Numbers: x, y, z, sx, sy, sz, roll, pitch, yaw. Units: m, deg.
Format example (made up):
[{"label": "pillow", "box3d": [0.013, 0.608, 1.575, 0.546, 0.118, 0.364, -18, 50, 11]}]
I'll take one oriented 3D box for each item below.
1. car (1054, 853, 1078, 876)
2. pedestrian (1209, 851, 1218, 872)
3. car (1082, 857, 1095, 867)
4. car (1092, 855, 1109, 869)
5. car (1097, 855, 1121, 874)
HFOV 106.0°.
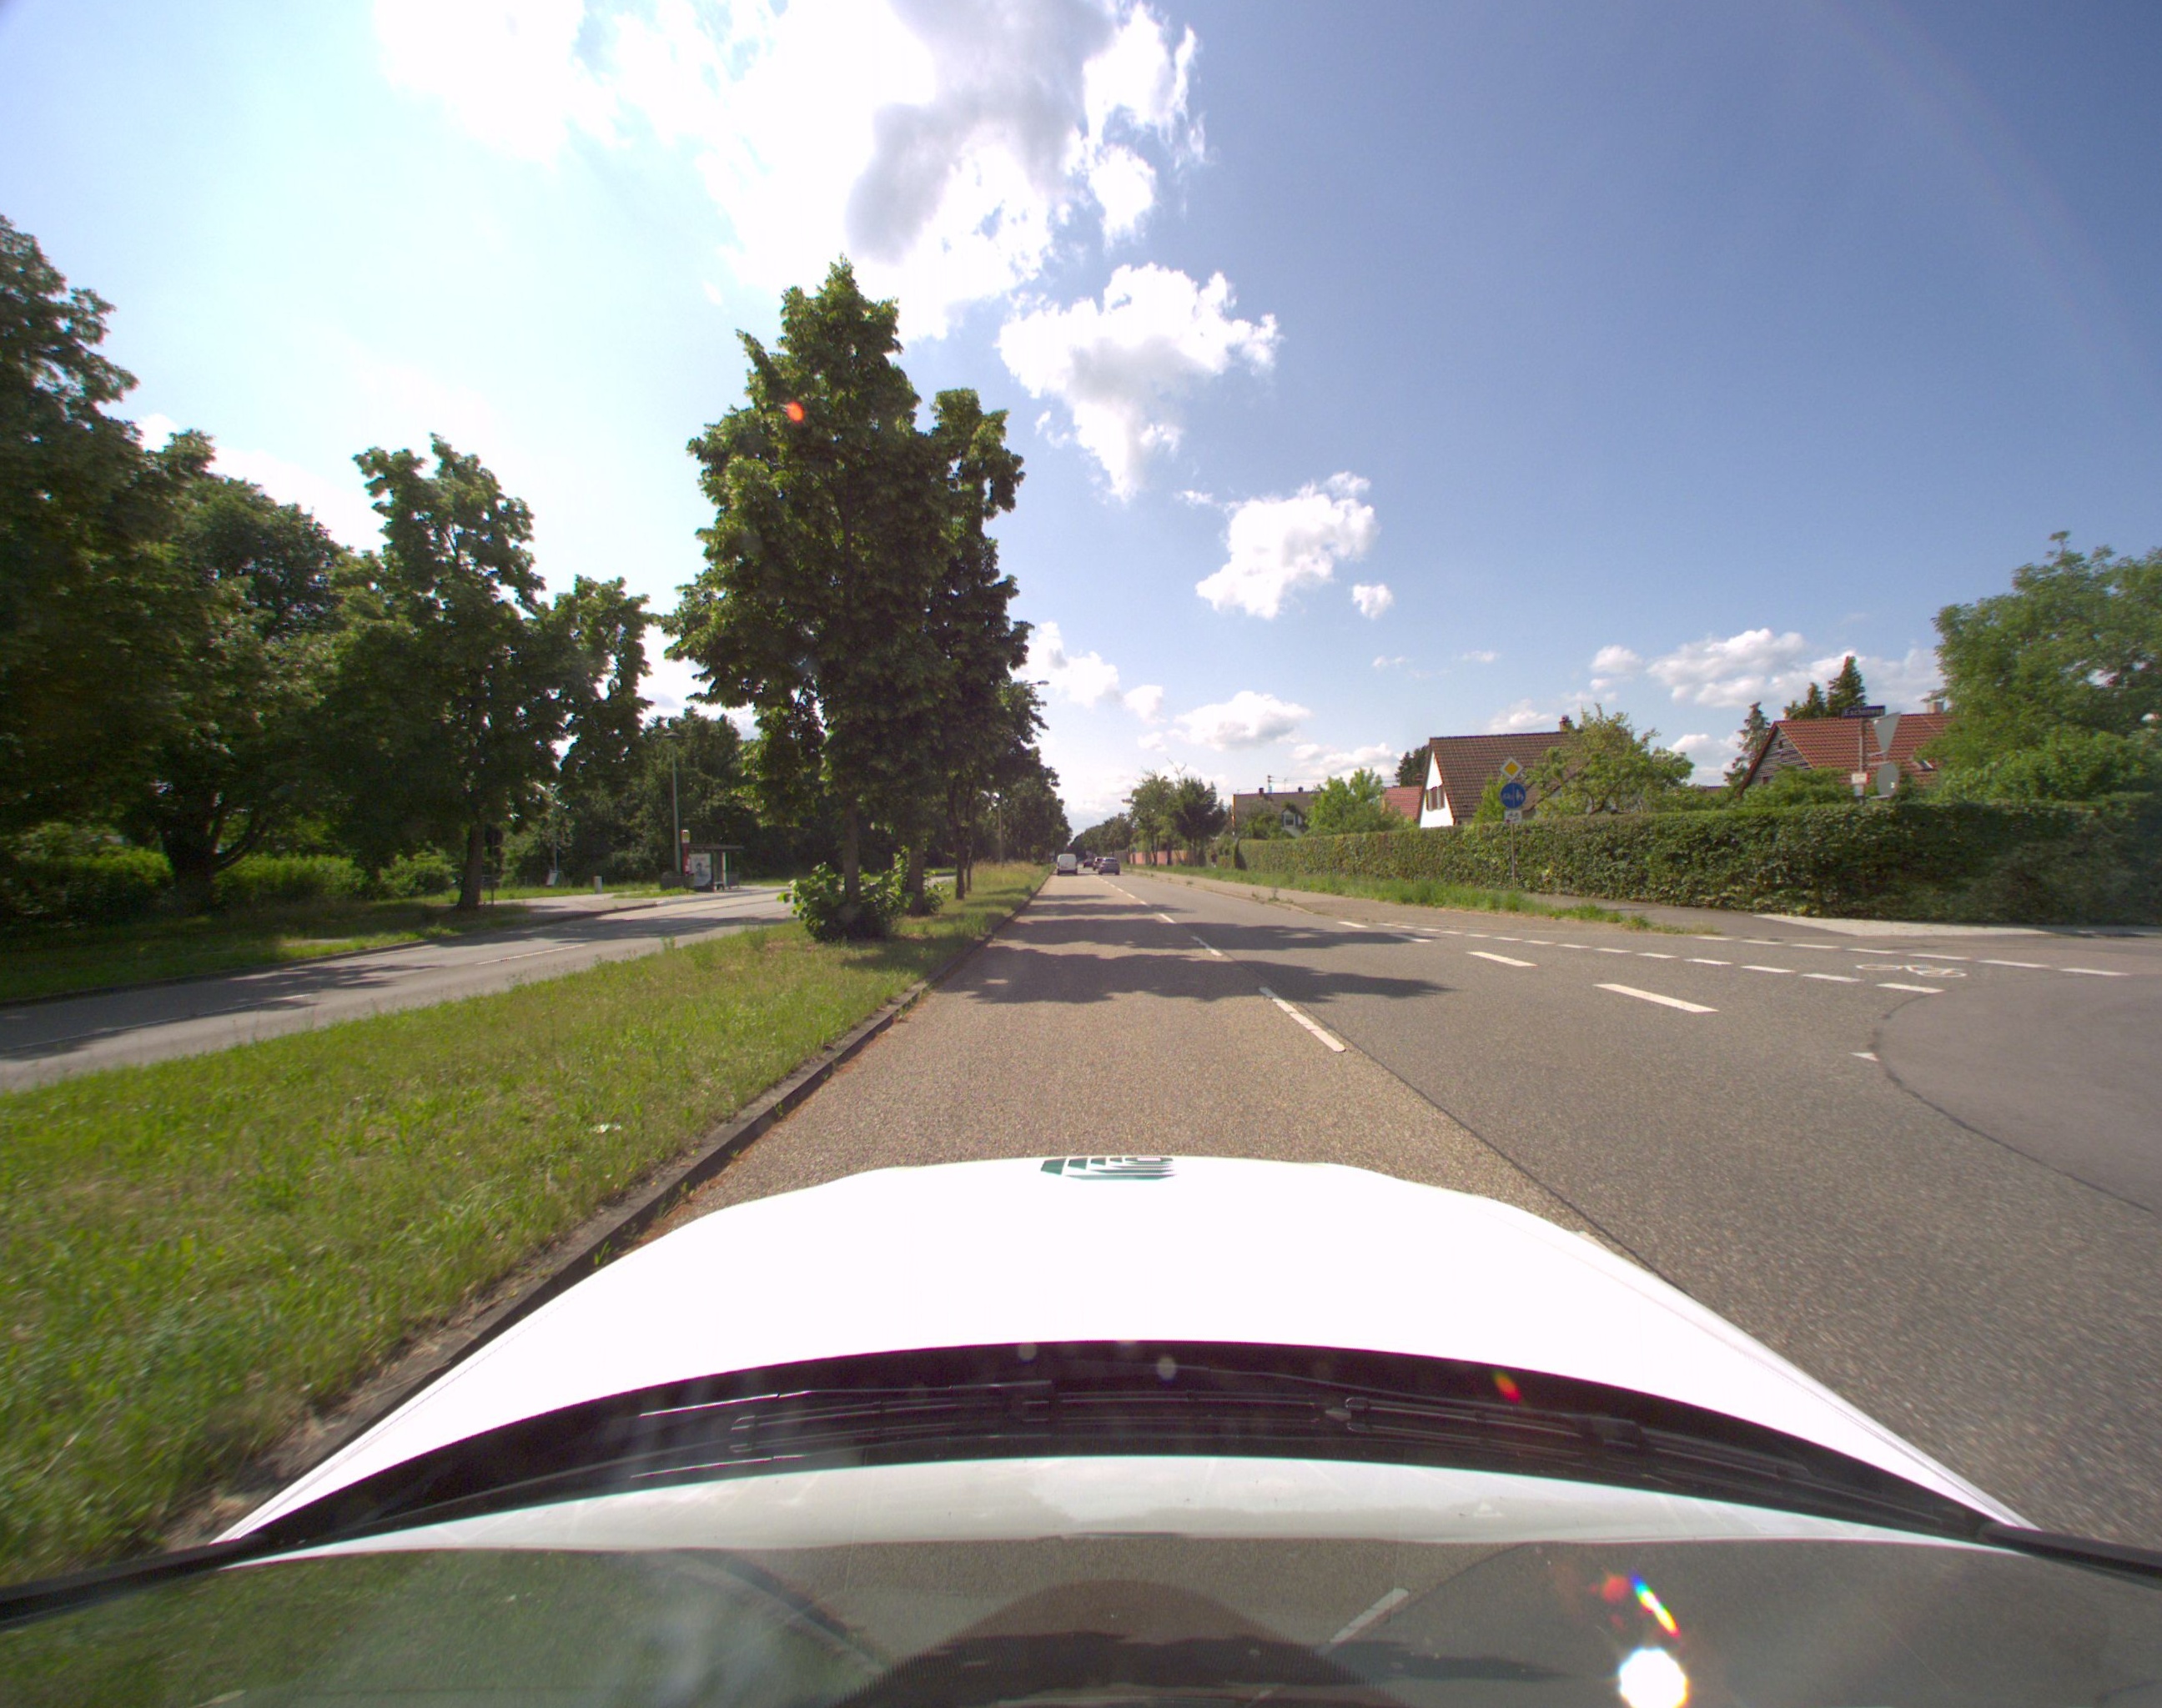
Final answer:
[{"label": "car", "box3d": [-1.328, 0.871, 71.345, 2.060, 1.912, 4.643, -1, 0, -1]}, {"label": "pedestrian", "box3d": [10.498, 0.617, 64.638, 0.558, 1.677, 0.634, -1, -1, -2]}, {"label": "car", "box3d": [1.250, 1.319, 136.940, 1.875, 1.587, 3.998, -1, 0, -1]}, {"label": "car", "box3d": [2.374, 0.974, 98.702, 1.870, 1.652, 3.998, -1, 0, -1]}, {"label": "car", "box3d": [2.473, 0.931, 72.869, 1.870, 1.589, 4.182, -1, 0, -1]}]
